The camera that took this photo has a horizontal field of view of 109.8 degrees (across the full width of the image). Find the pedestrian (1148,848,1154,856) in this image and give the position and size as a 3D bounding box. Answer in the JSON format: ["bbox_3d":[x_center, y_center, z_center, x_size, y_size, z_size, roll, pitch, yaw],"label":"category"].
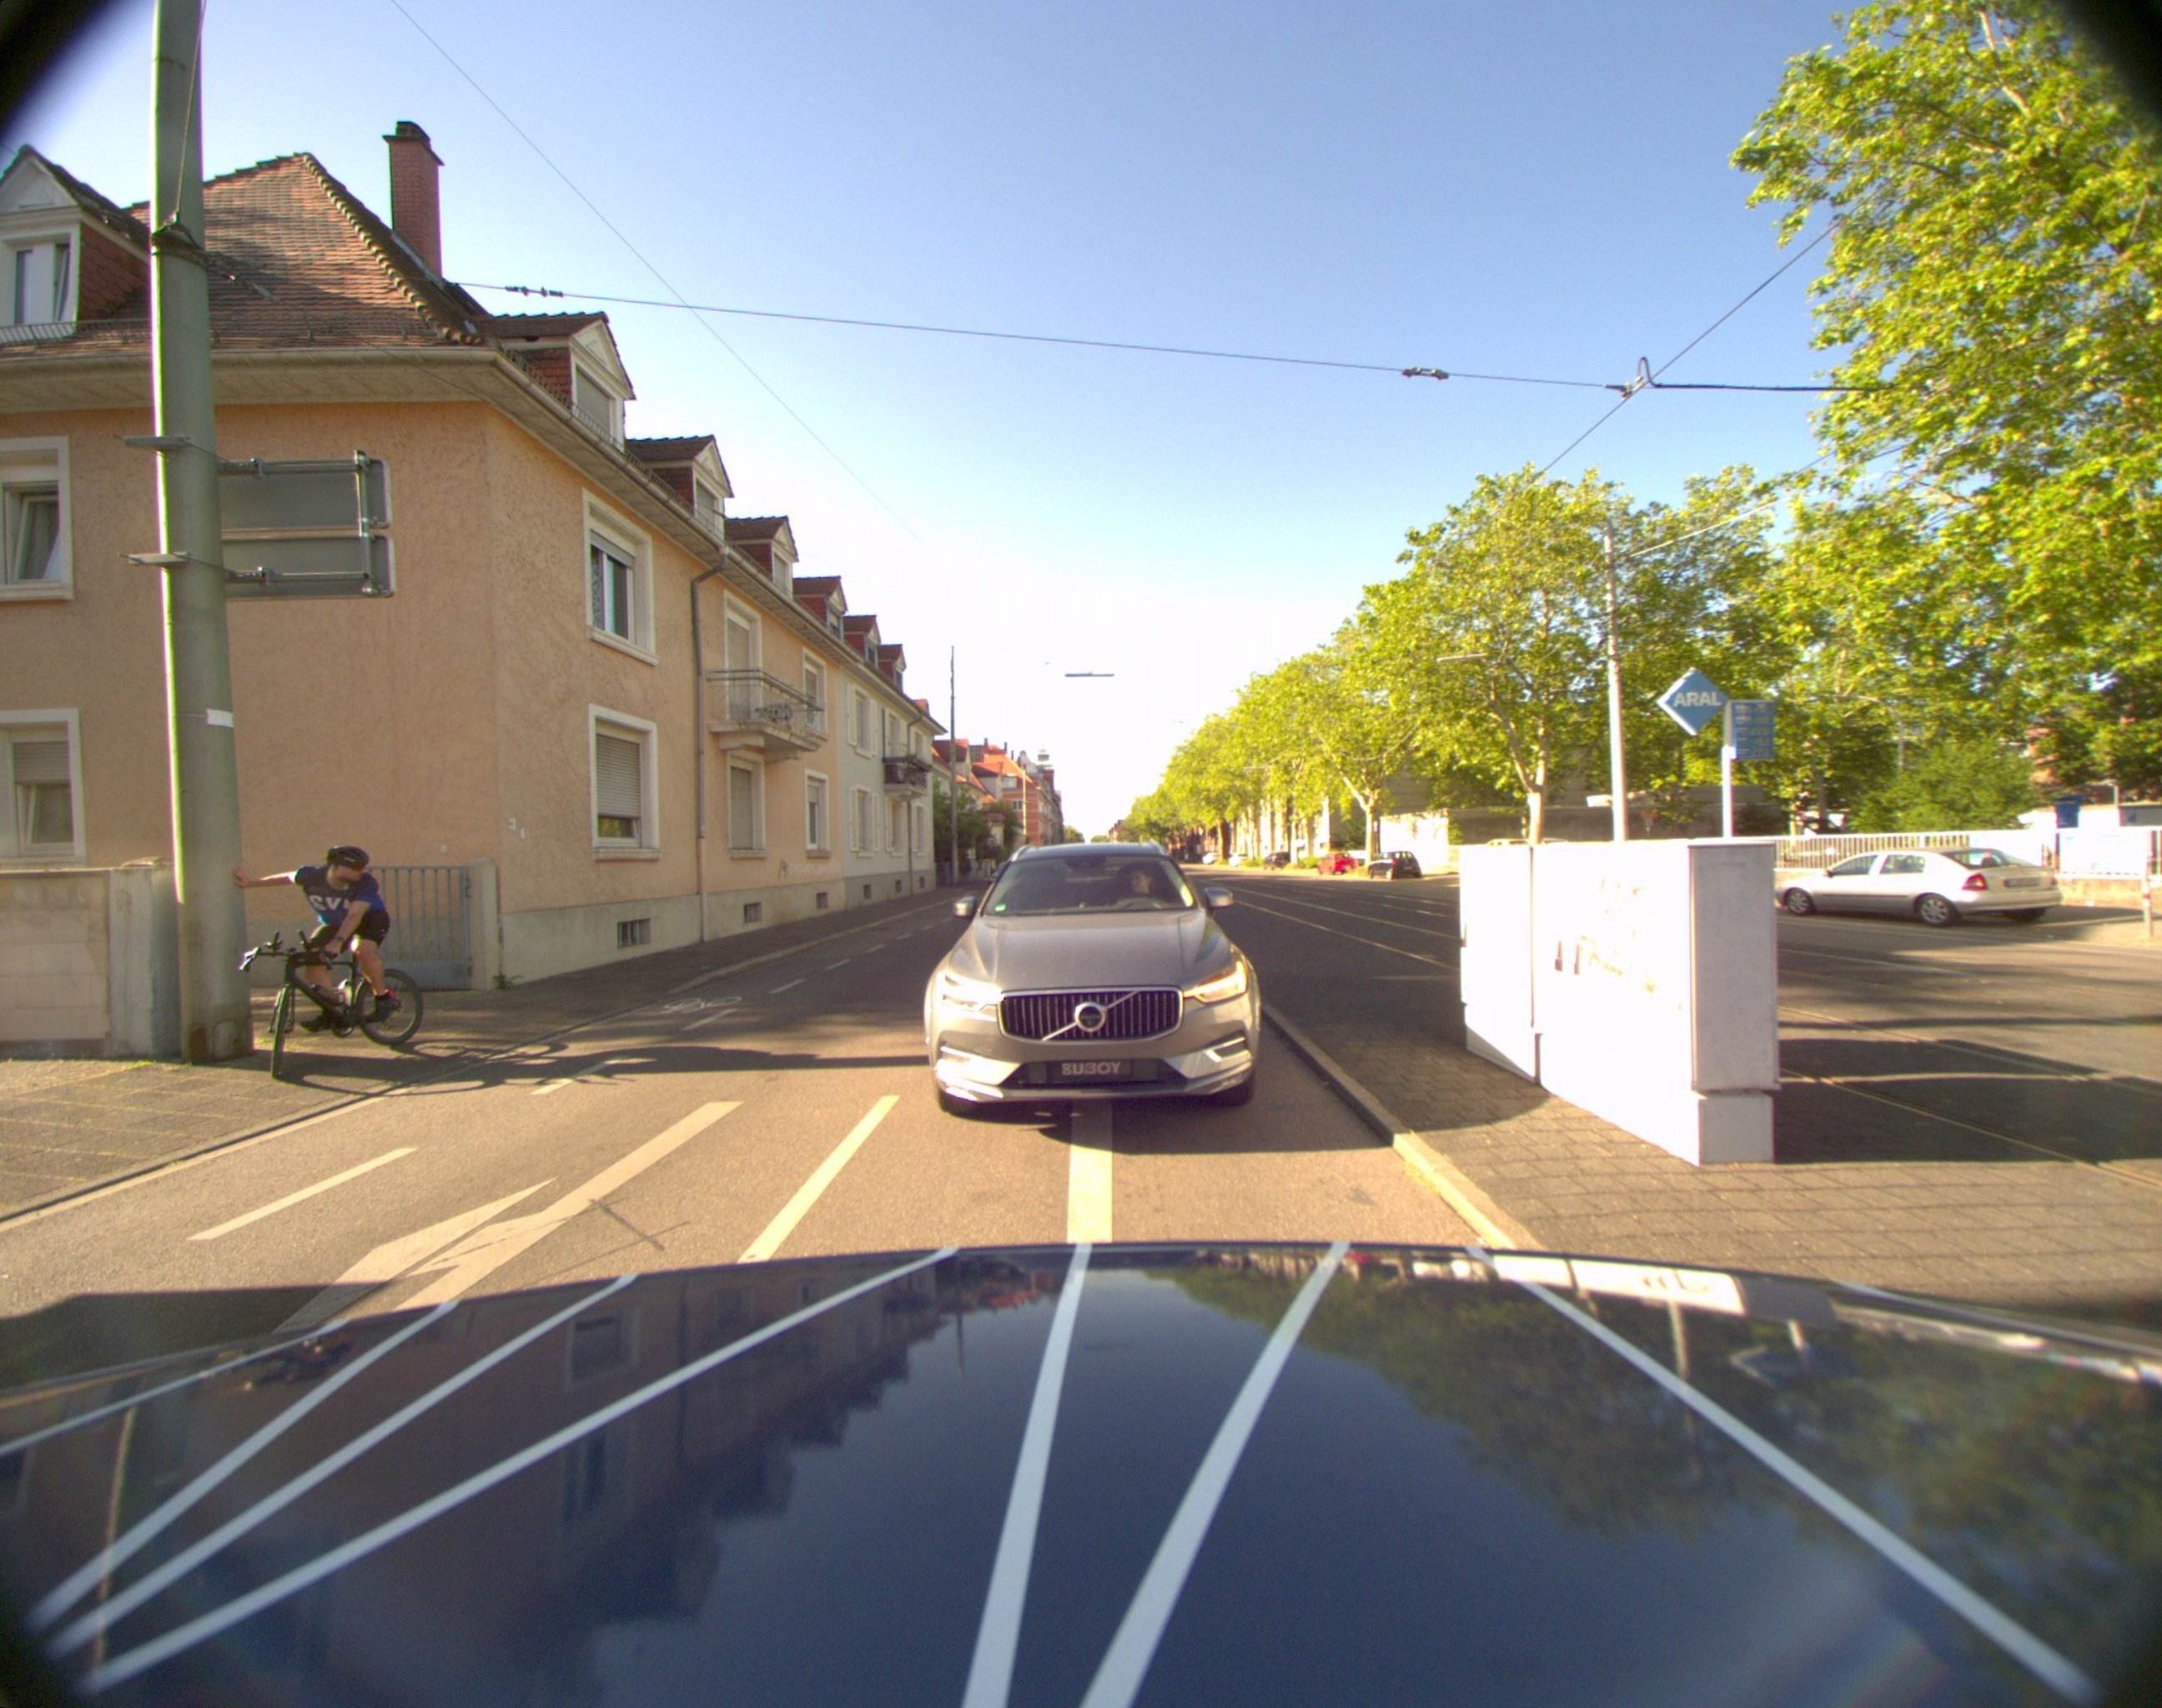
[{"bbox_3d":[19.610,-0.568,213.147,1.686,2.002,1.761,-1,1,1],"label":"pedestrian"}]

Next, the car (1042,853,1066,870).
[{"bbox_3d":[-2.347,0.612,66.374,1.867,1.399,4.078,-1,0,1],"label":"car"}]

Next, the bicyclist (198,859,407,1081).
[{"bbox_3d":[-6.144,0.854,6.065,0.562,1.607,1.016,-1,1,1],"label":"bicyclist"}]

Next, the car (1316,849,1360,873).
[{"bbox_3d":[16.910,0.445,50.195,1.717,1.421,3.858,-3,0,3],"label":"car"}]

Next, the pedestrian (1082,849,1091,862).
[{"bbox_3d":[0.848,0.209,124.322,1.457,2.002,1.193,-1,1,0],"label":"pedestrian"}]

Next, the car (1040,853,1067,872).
[{"bbox_3d":[-2.126,0.659,60.069,1.867,1.399,4.078,-1,0,1],"label":"car"}]

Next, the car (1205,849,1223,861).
[{"bbox_3d":[17.681,0.153,100.948,1.758,1.475,3.858,-3,0,3],"label":"car"}]

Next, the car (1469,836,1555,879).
[{"bbox_3d":[21.816,0.165,38.652,1.999,2.002,3.999,-1,0,-1],"label":"car"}]

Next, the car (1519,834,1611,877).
[{"bbox_3d":[24.164,0.076,38.111,1.999,2.002,3.999,-1,0,-1],"label":"car"}]

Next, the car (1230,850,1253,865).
[{"bbox_3d":[17.586,0.346,83.354,1.758,1.475,3.858,-3,0,3],"label":"car"}]

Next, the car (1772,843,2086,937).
[{"bbox_3d":[16.242,0.606,14.918,1.847,1.477,3.858,-4,0,2],"label":"car"}]

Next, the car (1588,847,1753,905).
[{"bbox_3d":[16.482,0.566,21.526,1.745,1.389,3.858,-4,0,3],"label":"car"}]

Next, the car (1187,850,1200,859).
[{"bbox_3d":[18.518,0.044,125.304,1.758,1.475,3.858,-3,0,3],"label":"car"}]

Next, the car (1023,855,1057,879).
[{"bbox_3d":[-2.572,0.807,48.510,1.867,1.399,4.078,-1,0,1],"label":"car"}]

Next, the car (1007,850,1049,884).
[{"bbox_3d":[-2.908,0.695,42.843,1.867,1.778,5.297,-1,0,1],"label":"car"}]

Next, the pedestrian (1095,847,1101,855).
[{"bbox_3d":[5.275,-0.839,233.090,1.791,2.481,1.901,-1,1,2],"label":"pedestrian"}]

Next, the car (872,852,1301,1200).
[{"bbox_3d":[0.059,0.814,5.943,1.998,1.609,4.697,-1,0,1],"label":"car"}]

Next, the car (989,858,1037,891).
[{"bbox_3d":[-3.231,0.958,37.089,1.867,1.399,4.424,-1,0,1],"label":"car"}]

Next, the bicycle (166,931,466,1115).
[{"bbox_3d":[-6.049,1.269,6.181,0.550,1.056,1.794,4,0,1],"label":"bicycle"}]

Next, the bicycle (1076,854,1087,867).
[{"bbox_3d":[0.021,0.679,77.955,1.054,1.262,3.914,-1,0,1],"label":"bicycle"}]

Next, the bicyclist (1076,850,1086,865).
[{"bbox_3d":[-0.003,0.378,78.009,1.054,1.496,1.250,-1,1,1],"label":"bicyclist"}]

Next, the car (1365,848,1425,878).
[{"bbox_3d":[16.897,0.454,41.053,1.758,1.449,3.858,-3,0,3],"label":"car"}]

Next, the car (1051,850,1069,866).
[{"bbox_3d":[-2.316,0.421,85.463,1.867,1.653,4.078,-1,0,1],"label":"car"}]

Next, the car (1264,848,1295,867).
[{"bbox_3d":[17.180,0.286,65.927,1.758,1.536,3.858,-3,0,3],"label":"car"}]
